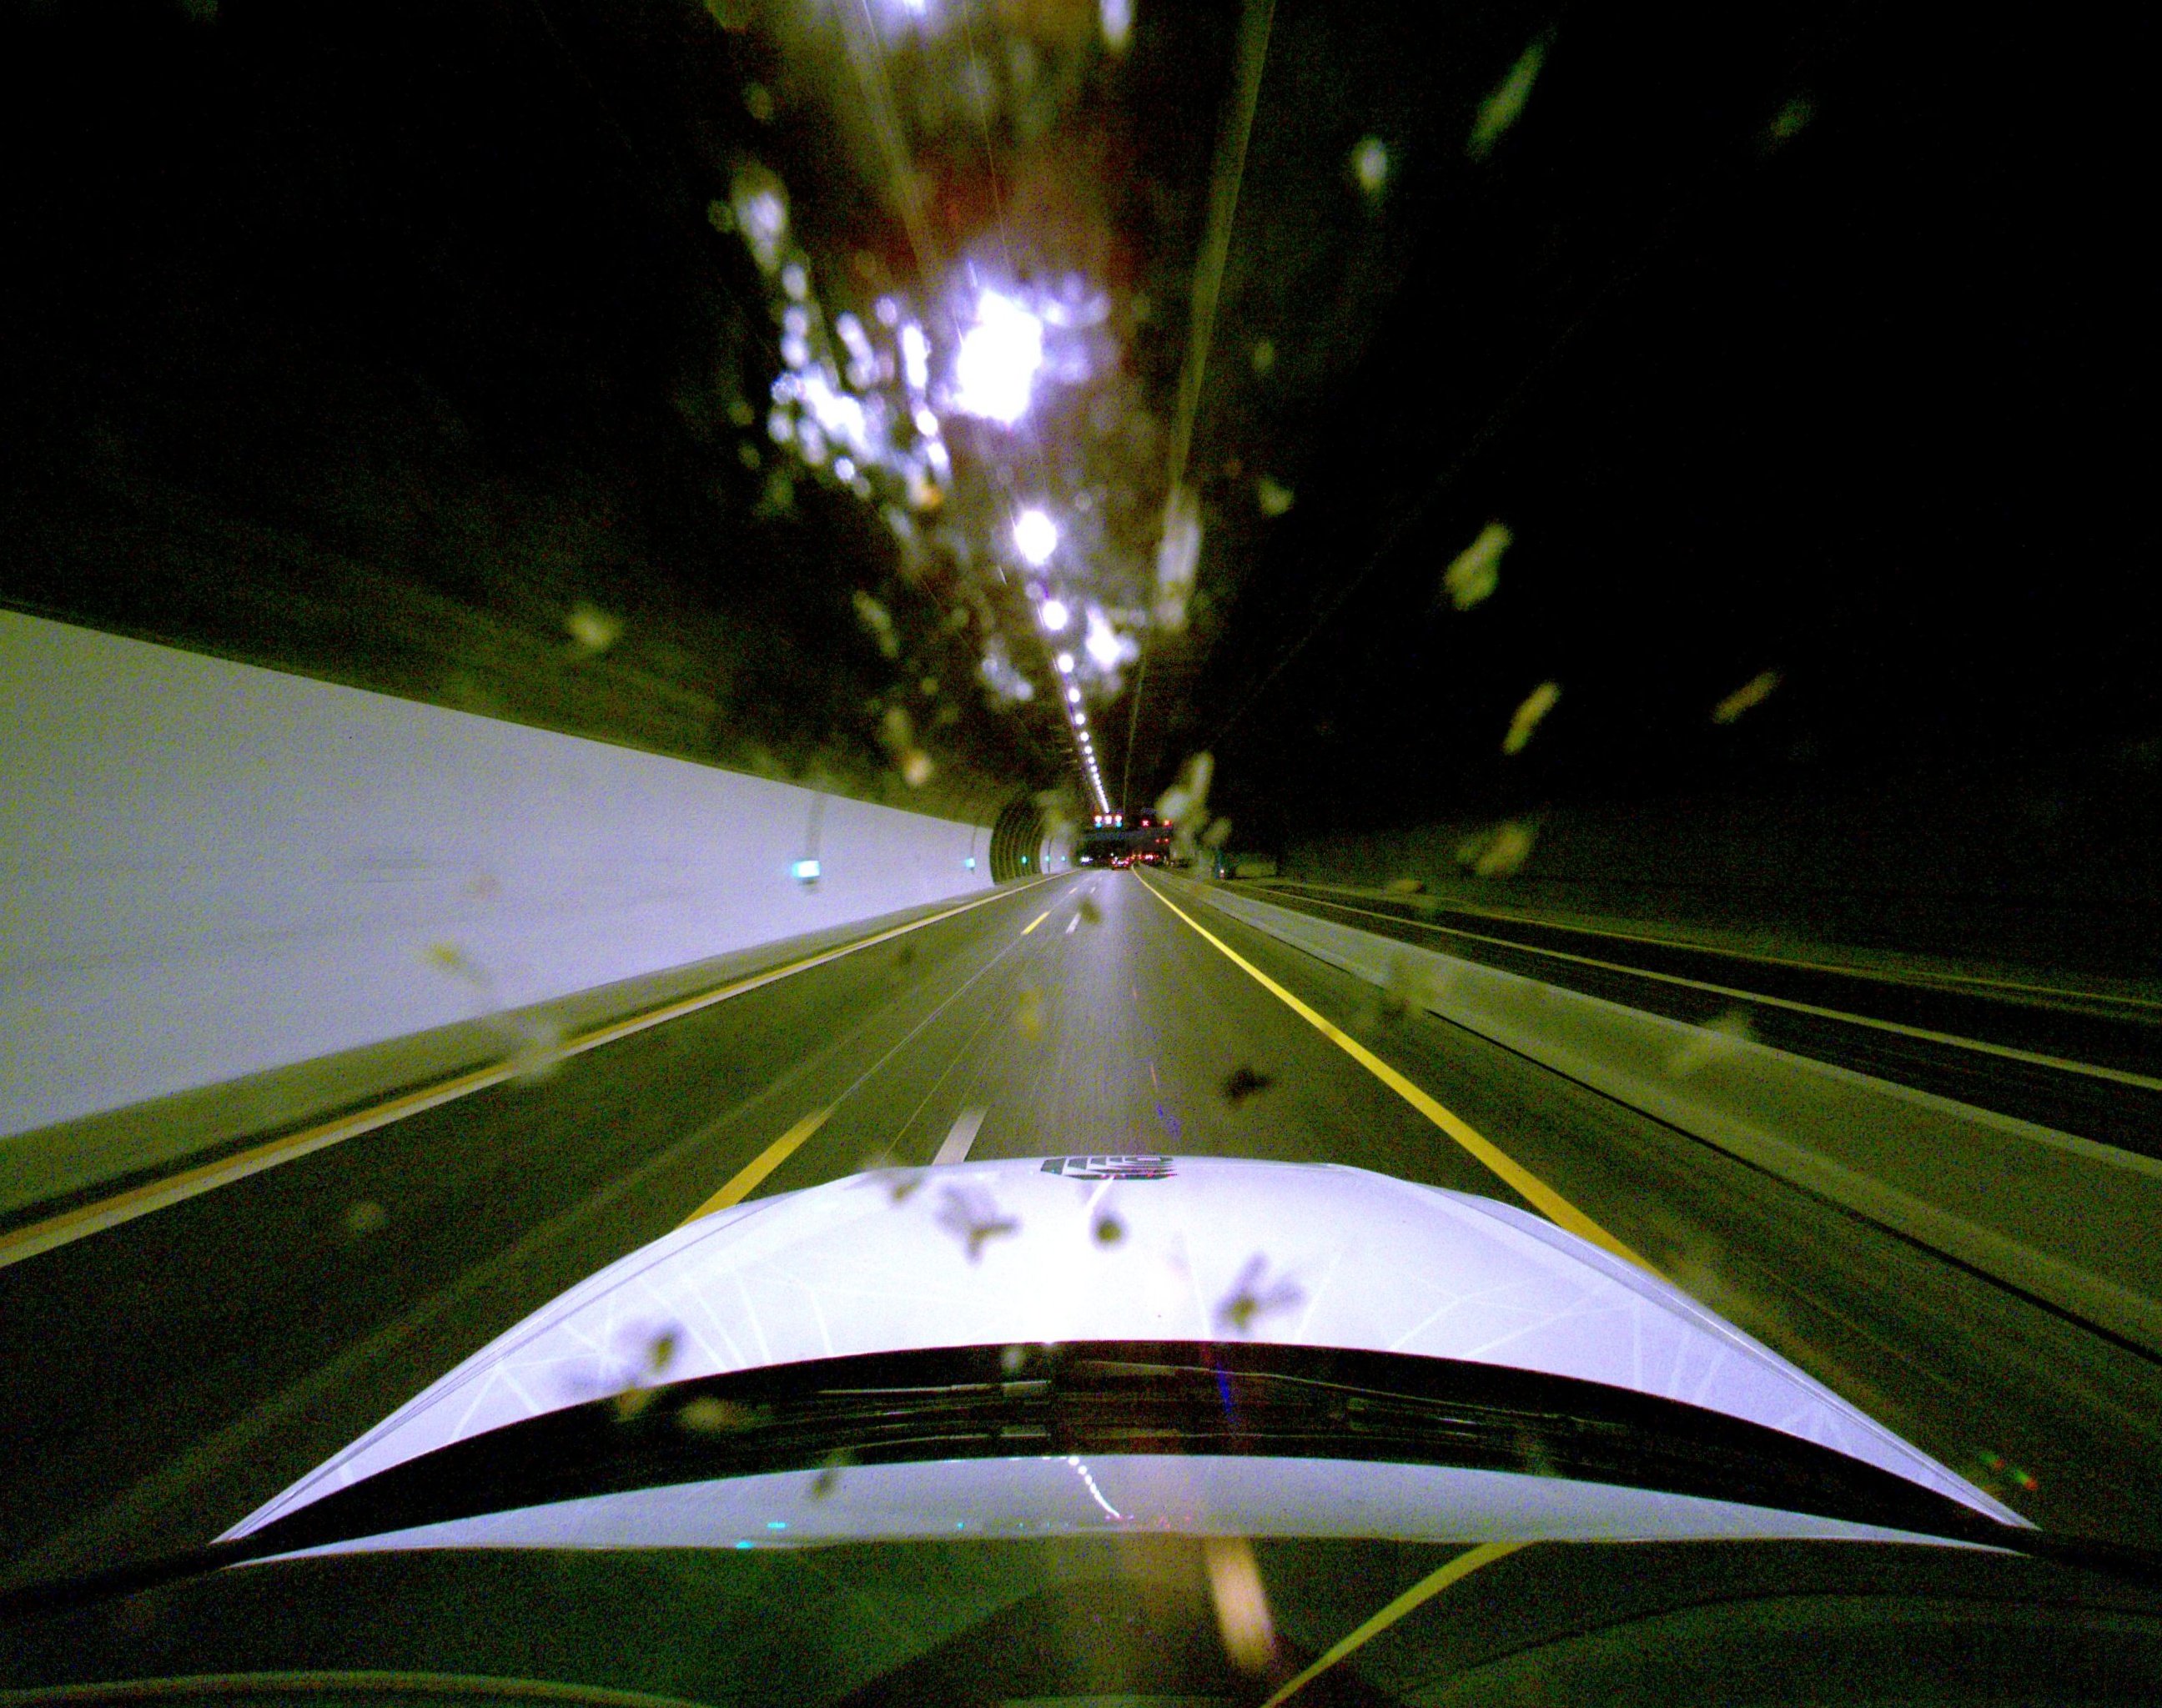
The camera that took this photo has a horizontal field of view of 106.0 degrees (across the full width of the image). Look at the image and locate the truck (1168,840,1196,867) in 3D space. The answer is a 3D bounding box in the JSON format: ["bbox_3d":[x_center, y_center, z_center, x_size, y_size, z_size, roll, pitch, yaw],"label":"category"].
[{"bbox_3d":[12.475,-0.014,101.298,2.880,3.272,8.407,-1,-1,3],"label":"truck"}]

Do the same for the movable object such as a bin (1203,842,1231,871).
[{"bbox_3d":[12.021,0.222,72.166,1.749,2.380,4.002,-4,-1,2],"label":"movable object such as a bin"}]

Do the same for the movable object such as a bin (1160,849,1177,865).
[{"bbox_3d":[15.793,0.553,147.132,2.725,2.754,7.057,-1,-1,4],"label":"movable object such as a bin"}]

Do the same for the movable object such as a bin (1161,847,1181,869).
[{"bbox_3d":[12.125,0.541,110.507,2.229,2.794,7.238,-1,-1,3],"label":"movable object such as a bin"}]

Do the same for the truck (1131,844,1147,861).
[{"bbox_3d":[17.646,-0.354,247.550,4.525,4.987,9.609,-1,-1,4],"label":"truck"}]

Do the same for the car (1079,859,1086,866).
[{"bbox_3d":[0.378,2.469,242.597,1.985,2.014,4.003,-1,-1,3],"label":"car"}]

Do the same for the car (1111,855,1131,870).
[{"bbox_3d":[4.274,0.934,87.342,1.882,1.607,3.999,-1,-1,0],"label":"car"}]

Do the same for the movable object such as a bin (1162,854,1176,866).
[{"bbox_3d":[14.493,1.003,134.460,1.970,1.816,3.839,-1,-1,3],"label":"movable object such as a bin"}]

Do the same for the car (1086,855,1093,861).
[{"bbox_3d":[2.600,1.292,259.574,1.985,2.014,4.003,-1,-1,3],"label":"car"}]

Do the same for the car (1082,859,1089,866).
[{"bbox_3d":[1.386,2.556,252.666,1.985,2.014,4.003,-1,-1,3],"label":"car"}]
